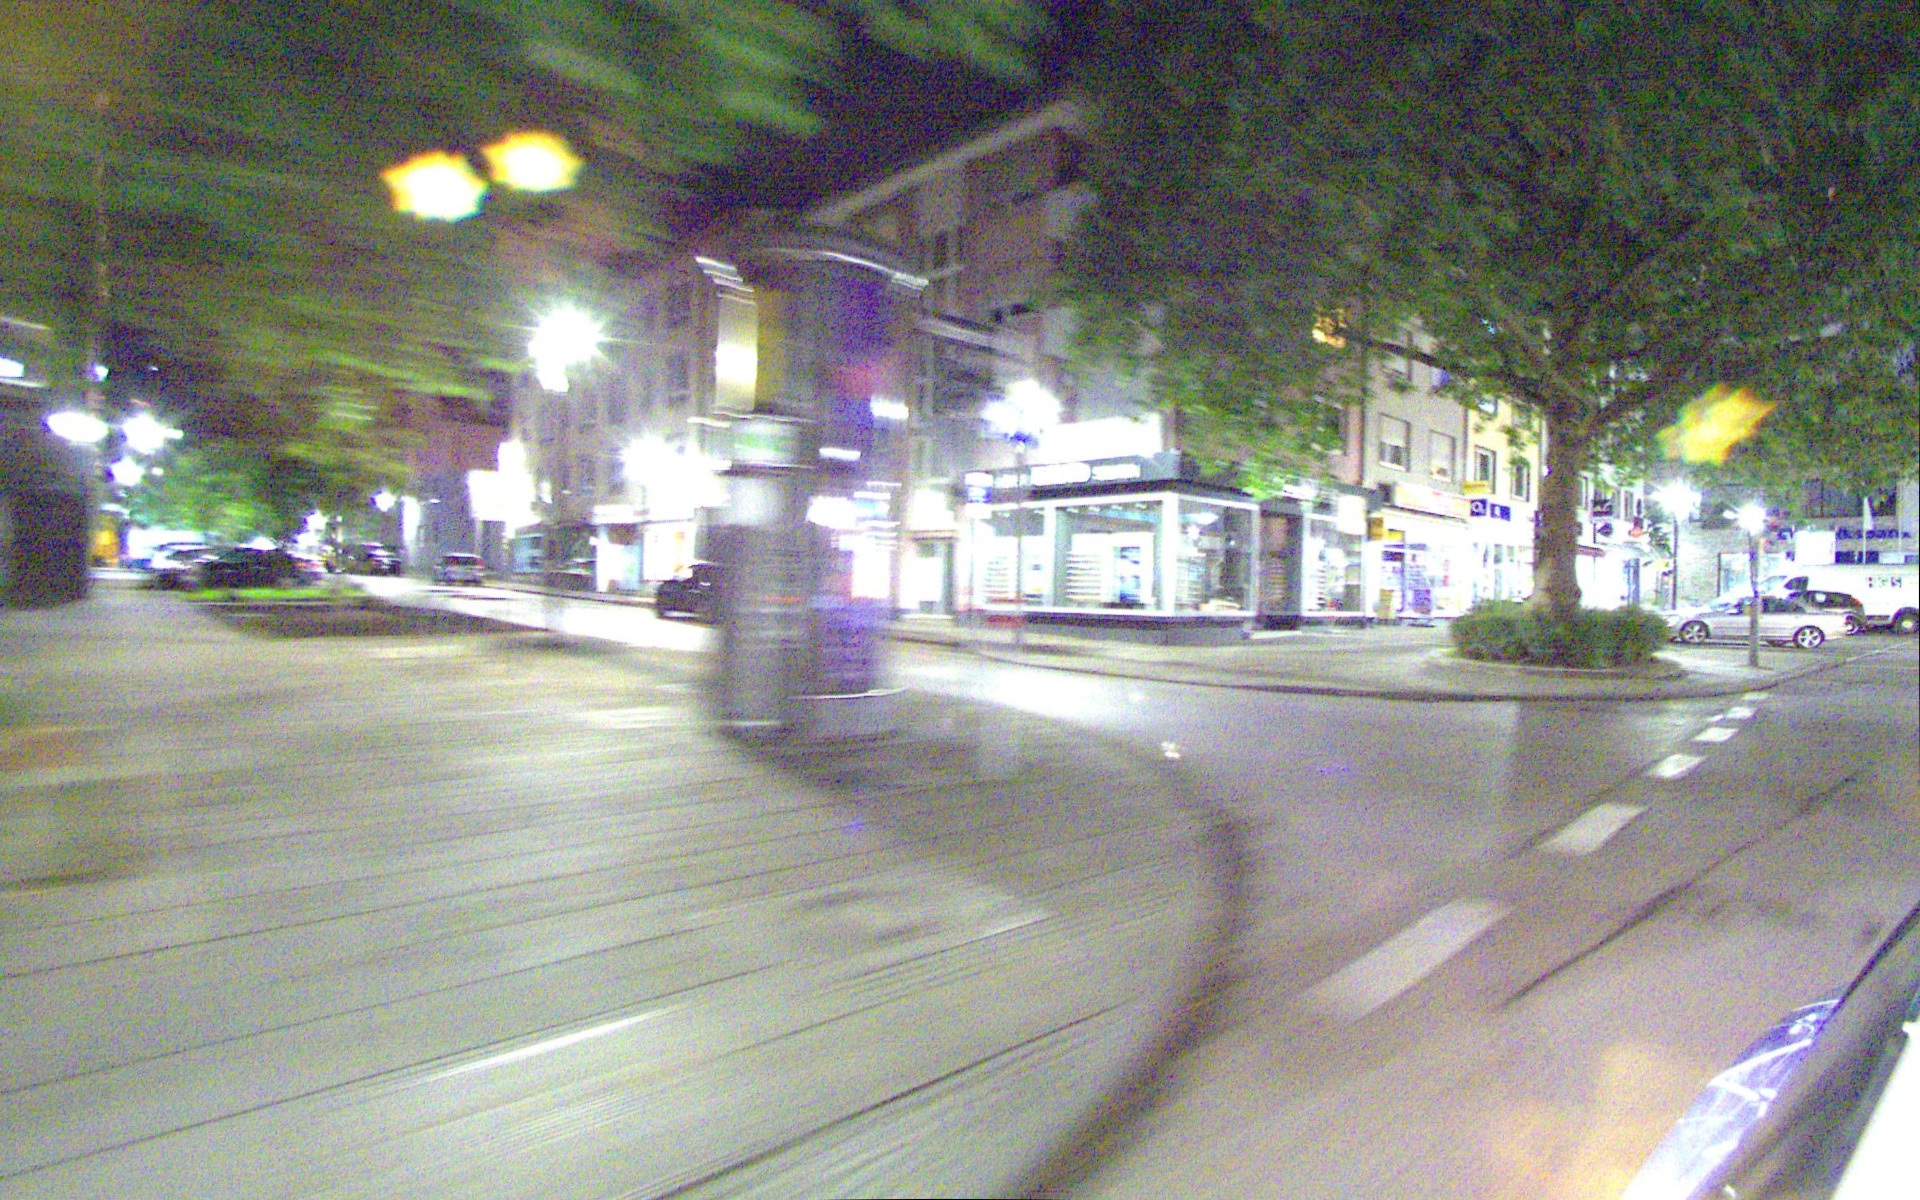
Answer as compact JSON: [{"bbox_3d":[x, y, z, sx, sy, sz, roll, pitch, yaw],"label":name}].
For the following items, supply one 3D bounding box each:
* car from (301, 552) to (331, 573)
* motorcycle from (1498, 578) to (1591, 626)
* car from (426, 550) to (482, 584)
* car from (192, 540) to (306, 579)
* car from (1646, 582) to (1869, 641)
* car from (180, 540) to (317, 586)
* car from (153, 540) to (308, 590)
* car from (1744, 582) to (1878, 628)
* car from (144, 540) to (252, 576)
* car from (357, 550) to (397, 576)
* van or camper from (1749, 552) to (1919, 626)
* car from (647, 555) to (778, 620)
[{"bbox_3d":[-49.356,-2.896,77.579,1.445,1.518,3.519,1,1,-41],"label":"car"},{"bbox_3d":[16.473,0.050,28.553,2.184,1.286,0.531,1,1,8],"label":"motorcycle"},{"bbox_3d":[-24.291,-1.607,48.546,1.622,1.518,3.520,1,1,-39],"label":"car"},{"bbox_3d":[-29.629,-1.651,42.198,3.729,1.498,1.749,-1,1,-42],"label":"car"},{"bbox_3d":[21.762,0.279,27.813,4.482,1.473,1.630,1,1,15],"label":"car"},{"bbox_3d":[-24.647,-1.238,35.111,3.729,1.498,1.749,-1,1,-42],"label":"car"},{"bbox_3d":[-23.526,-1.087,32.712,3.931,1.498,1.749,-1,1,-42],"label":"car"},{"bbox_3d":[29.394,0.150,35.059,3.142,1.473,1.682,1,1,23],"label":"car"},{"bbox_3d":[-34.106,-1.834,45.337,3.729,1.498,1.749,-1,1,-42],"label":"car"},{"bbox_3d":[-35.110,-2.241,60.907,1.445,1.518,3.519,1,1,-41],"label":"car"},{"bbox_3d":[32.526,-0.425,36.502,5.975,2.565,2.149,1,1,20],"label":"van or camper"},{"bbox_3d":[-6.838,-0.367,27.738,1.867,1.609,3.995,1,1,-41],"label":"car"}]
